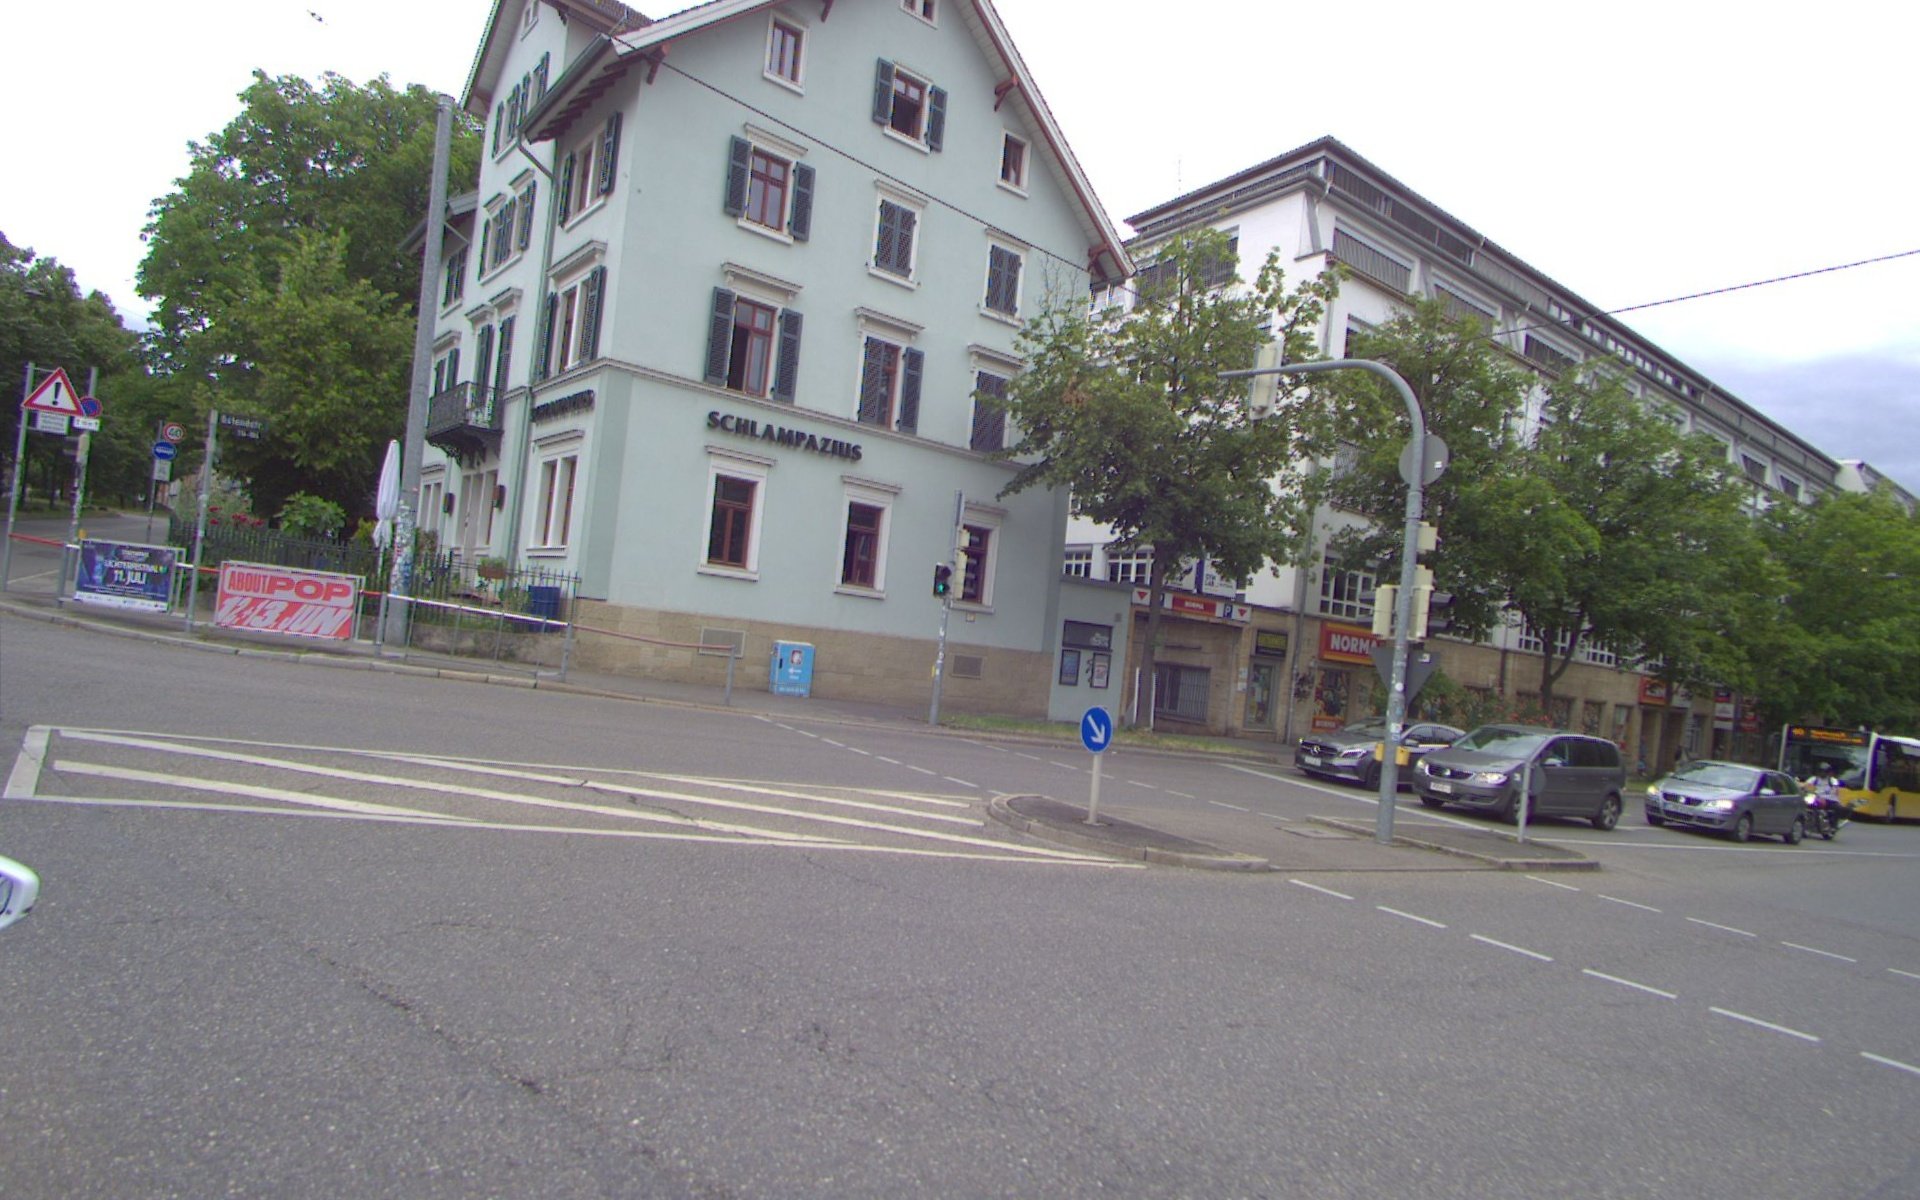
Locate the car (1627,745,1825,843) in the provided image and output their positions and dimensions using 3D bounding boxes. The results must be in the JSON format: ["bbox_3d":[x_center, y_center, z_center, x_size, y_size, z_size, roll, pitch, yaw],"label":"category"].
[{"bbox_3d":[15.365,3.899,20.157,3.750,1.438,1.653,9,-2,-28],"label":"car"}]

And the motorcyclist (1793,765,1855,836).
[{"bbox_3d":[19.485,4.515,22.699,1.001,1.434,0.703,9,-1,-34],"label":"motorcyclist"}]

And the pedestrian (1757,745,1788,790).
[{"bbox_3d":[38.025,7.824,47.070,0.802,1.934,0.742,8,-1,-32],"label":"pedestrian"}]

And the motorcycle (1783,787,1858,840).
[{"bbox_3d":[19.395,4.820,22.660,2.376,0.998,0.633,9,-2,-34],"label":"motorcycle"}]

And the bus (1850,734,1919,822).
[{"bbox_3d":[41.140,7.729,42.446,10.839,3.084,2.853,10,-2,-36],"label":"bus"}]

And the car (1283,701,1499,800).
[{"bbox_3d":[8.731,3.046,20.326,4.153,1.440,1.698,9,-2,-28],"label":"car"}]

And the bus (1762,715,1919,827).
[{"bbox_3d":[32.576,6.265,36.274,10.315,3.144,2.836,10,-2,-36],"label":"bus"}]

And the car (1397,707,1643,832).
[{"bbox_3d":[9.855,2.979,17.652,4.153,1.656,1.699,9,-3,-28],"label":"car"}]
